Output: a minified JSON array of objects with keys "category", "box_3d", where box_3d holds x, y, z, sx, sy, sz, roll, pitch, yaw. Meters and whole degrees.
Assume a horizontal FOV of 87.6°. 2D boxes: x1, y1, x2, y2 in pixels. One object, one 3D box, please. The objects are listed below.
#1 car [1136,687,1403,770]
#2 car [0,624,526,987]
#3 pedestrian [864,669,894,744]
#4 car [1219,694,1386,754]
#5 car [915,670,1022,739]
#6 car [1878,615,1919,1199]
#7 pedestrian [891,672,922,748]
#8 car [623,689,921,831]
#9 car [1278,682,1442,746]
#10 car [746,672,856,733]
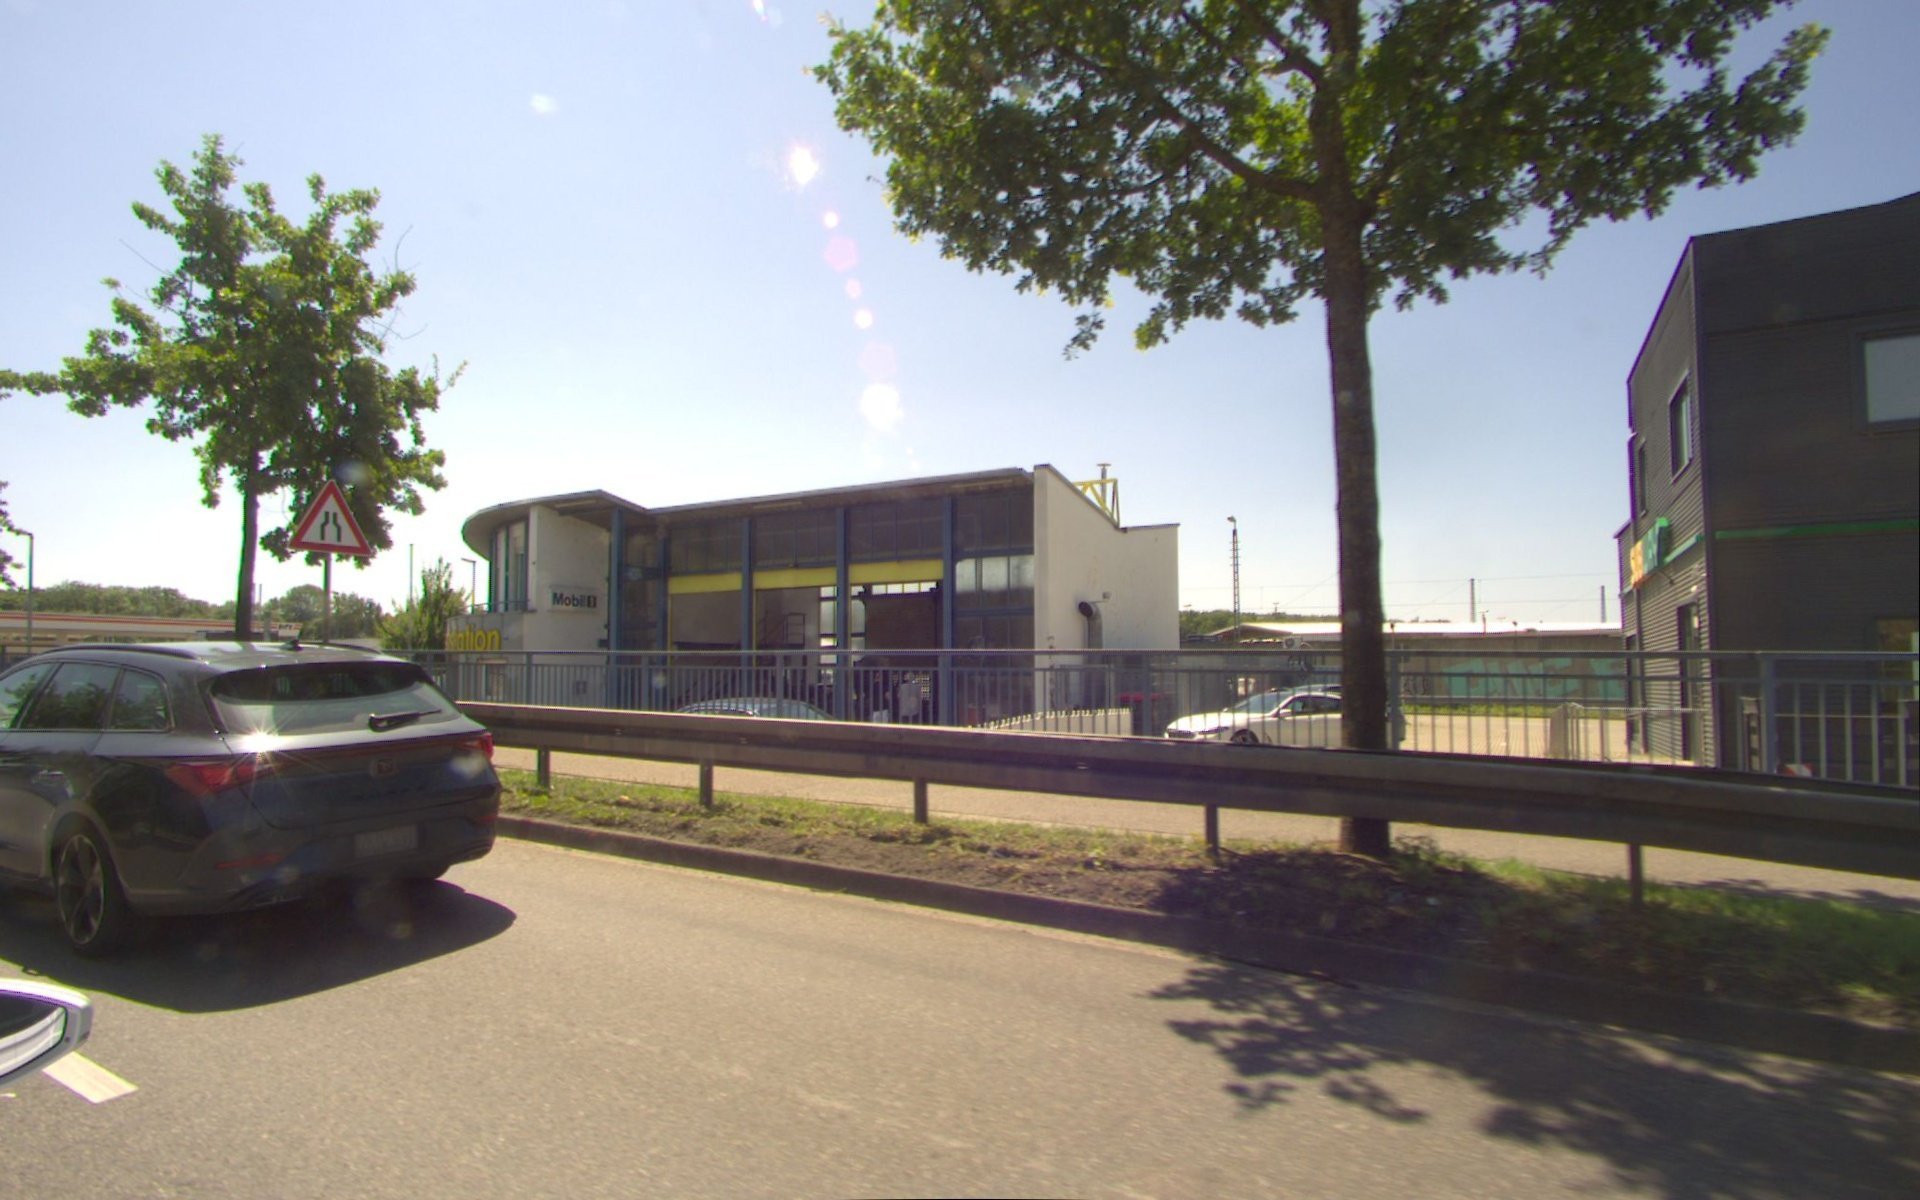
[{"category":"car","box_3d":[6.242,2.516,20.202,4.998,1.374,1.996,1,-3,-22]},{"category":"car","box_3d":[-4.580,0.933,5.827,4.172,1.474,1.603,-2,-3,30]},{"category":"pedestrian","box_3d":[-1.888,2.473,23.431,0.481,1.724,0.521,-1,-2,30]},{"category":"car","box_3d":[8.187,2.936,24.021,3.547,1.268,1.479,0,-3,-13]},{"category":"car","box_3d":[0.307,2.832,27.892,1.624,1.705,3.670,-1,-3,25]},{"category":"car","box_3d":[3.701,0.720,1.018,3.837,1.462,1.643,-1,-3,34]},{"category":"pedestrian","box_3d":[-1.230,2.539,23.200,0.581,1.724,0.426,-1,-2,29]},{"category":"car","box_3d":[-2.576,2.033,13.492,3.843,1.551,1.631,-2,-3,31]},{"category":"car","box_3d":[11.235,3.154,28.149,4.326,1.578,1.652,1,-3,-22]},{"category":"car","box_3d":[-4.856,3.111,31.035,1.624,1.705,3.670,-1,-3,25]}]
